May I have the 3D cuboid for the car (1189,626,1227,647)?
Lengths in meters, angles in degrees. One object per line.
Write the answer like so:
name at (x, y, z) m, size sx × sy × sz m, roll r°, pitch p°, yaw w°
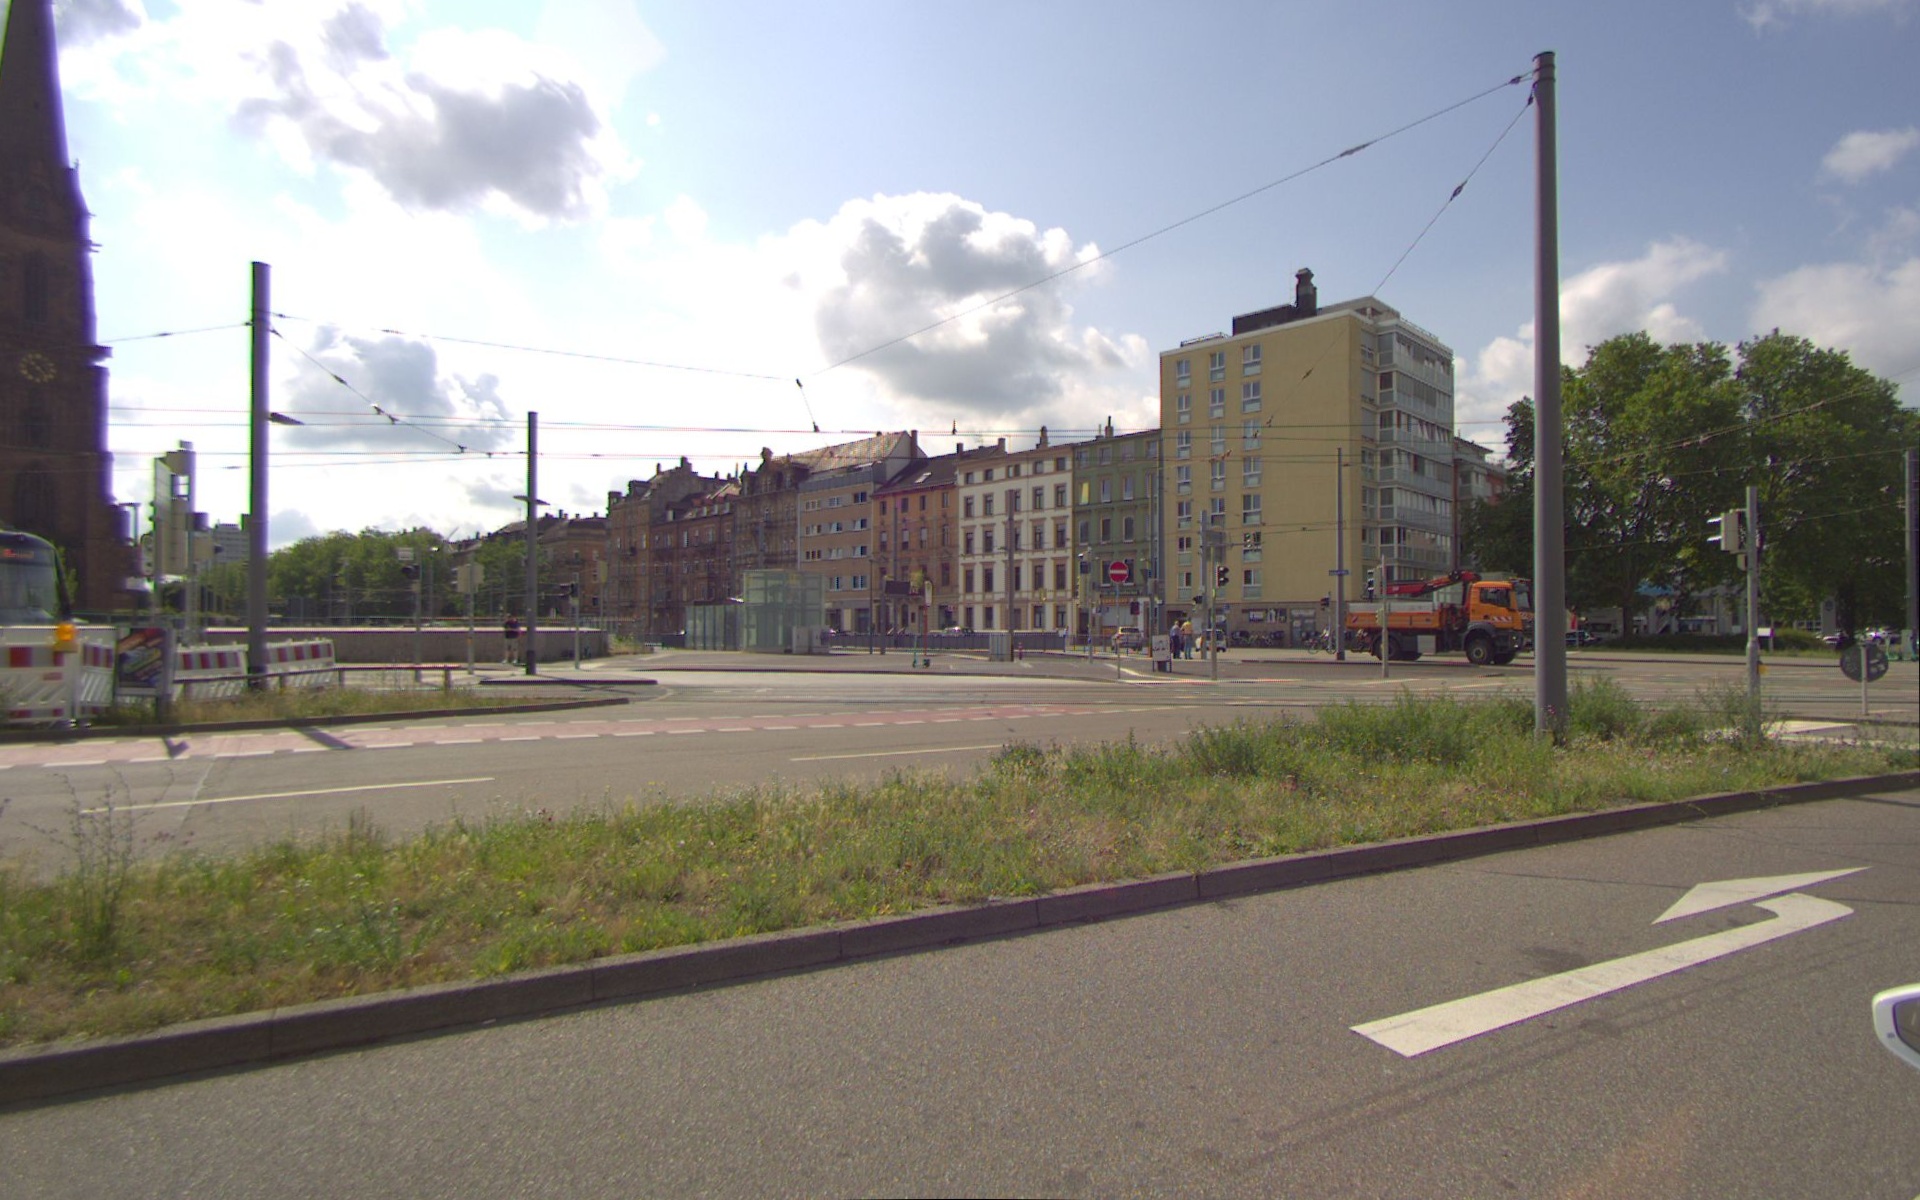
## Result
car at (16.299, 2.392, 66.200) m, size 1.664 × 1.368 × 3.678 m, roll 0°, pitch -1°, yaw 1°

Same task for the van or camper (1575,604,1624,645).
van or camper at (47.343, 1.828, 74.290) m, size 2.549 × 2.946 × 6.075 m, roll -1°, pitch -2°, yaw 37°

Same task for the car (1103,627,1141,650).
car at (11.205, 2.652, 69.622) m, size 1.666 × 1.520 × 3.673 m, roll 0°, pitch -1°, yaw -6°

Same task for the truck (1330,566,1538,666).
truck at (20.059, 0.731, 43.023) m, size 2.184 × 3.907 × 7.842 m, roll 1°, pitch -2°, yaw -42°

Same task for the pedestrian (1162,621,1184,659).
pedestrian at (10.423, 1.950, 49.186) m, size 0.809 × 1.884 × 0.695 m, roll 1°, pitch -1°, yaw -30°

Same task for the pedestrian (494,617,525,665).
pedestrian at (-17.611, 1.598, 39.272) m, size 0.789 × 1.820 × 0.965 m, roll 0°, pitch -1°, yaw -4°

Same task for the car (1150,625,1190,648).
car at (13.945, 2.414, 66.898) m, size 1.834 × 1.455 × 4.006 m, roll 0°, pitch -1°, yaw 0°

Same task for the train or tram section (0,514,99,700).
train or tram section at (-24.810, 0.127, 20.356) m, size 12.170 × 3.619 × 2.668 m, roll 0°, pitch -1°, yaw -1°

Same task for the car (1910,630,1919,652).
car at (80.182, 3.425, 82.967) m, size 3.962 × 1.792 × 1.785 m, roll 1°, pitch -2°, yaw -36°

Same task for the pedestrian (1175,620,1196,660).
pedestrian at (10.881, 1.935, 48.537) m, size 0.772 × 1.893 × 0.647 m, roll 1°, pitch -1°, yaw -30°
